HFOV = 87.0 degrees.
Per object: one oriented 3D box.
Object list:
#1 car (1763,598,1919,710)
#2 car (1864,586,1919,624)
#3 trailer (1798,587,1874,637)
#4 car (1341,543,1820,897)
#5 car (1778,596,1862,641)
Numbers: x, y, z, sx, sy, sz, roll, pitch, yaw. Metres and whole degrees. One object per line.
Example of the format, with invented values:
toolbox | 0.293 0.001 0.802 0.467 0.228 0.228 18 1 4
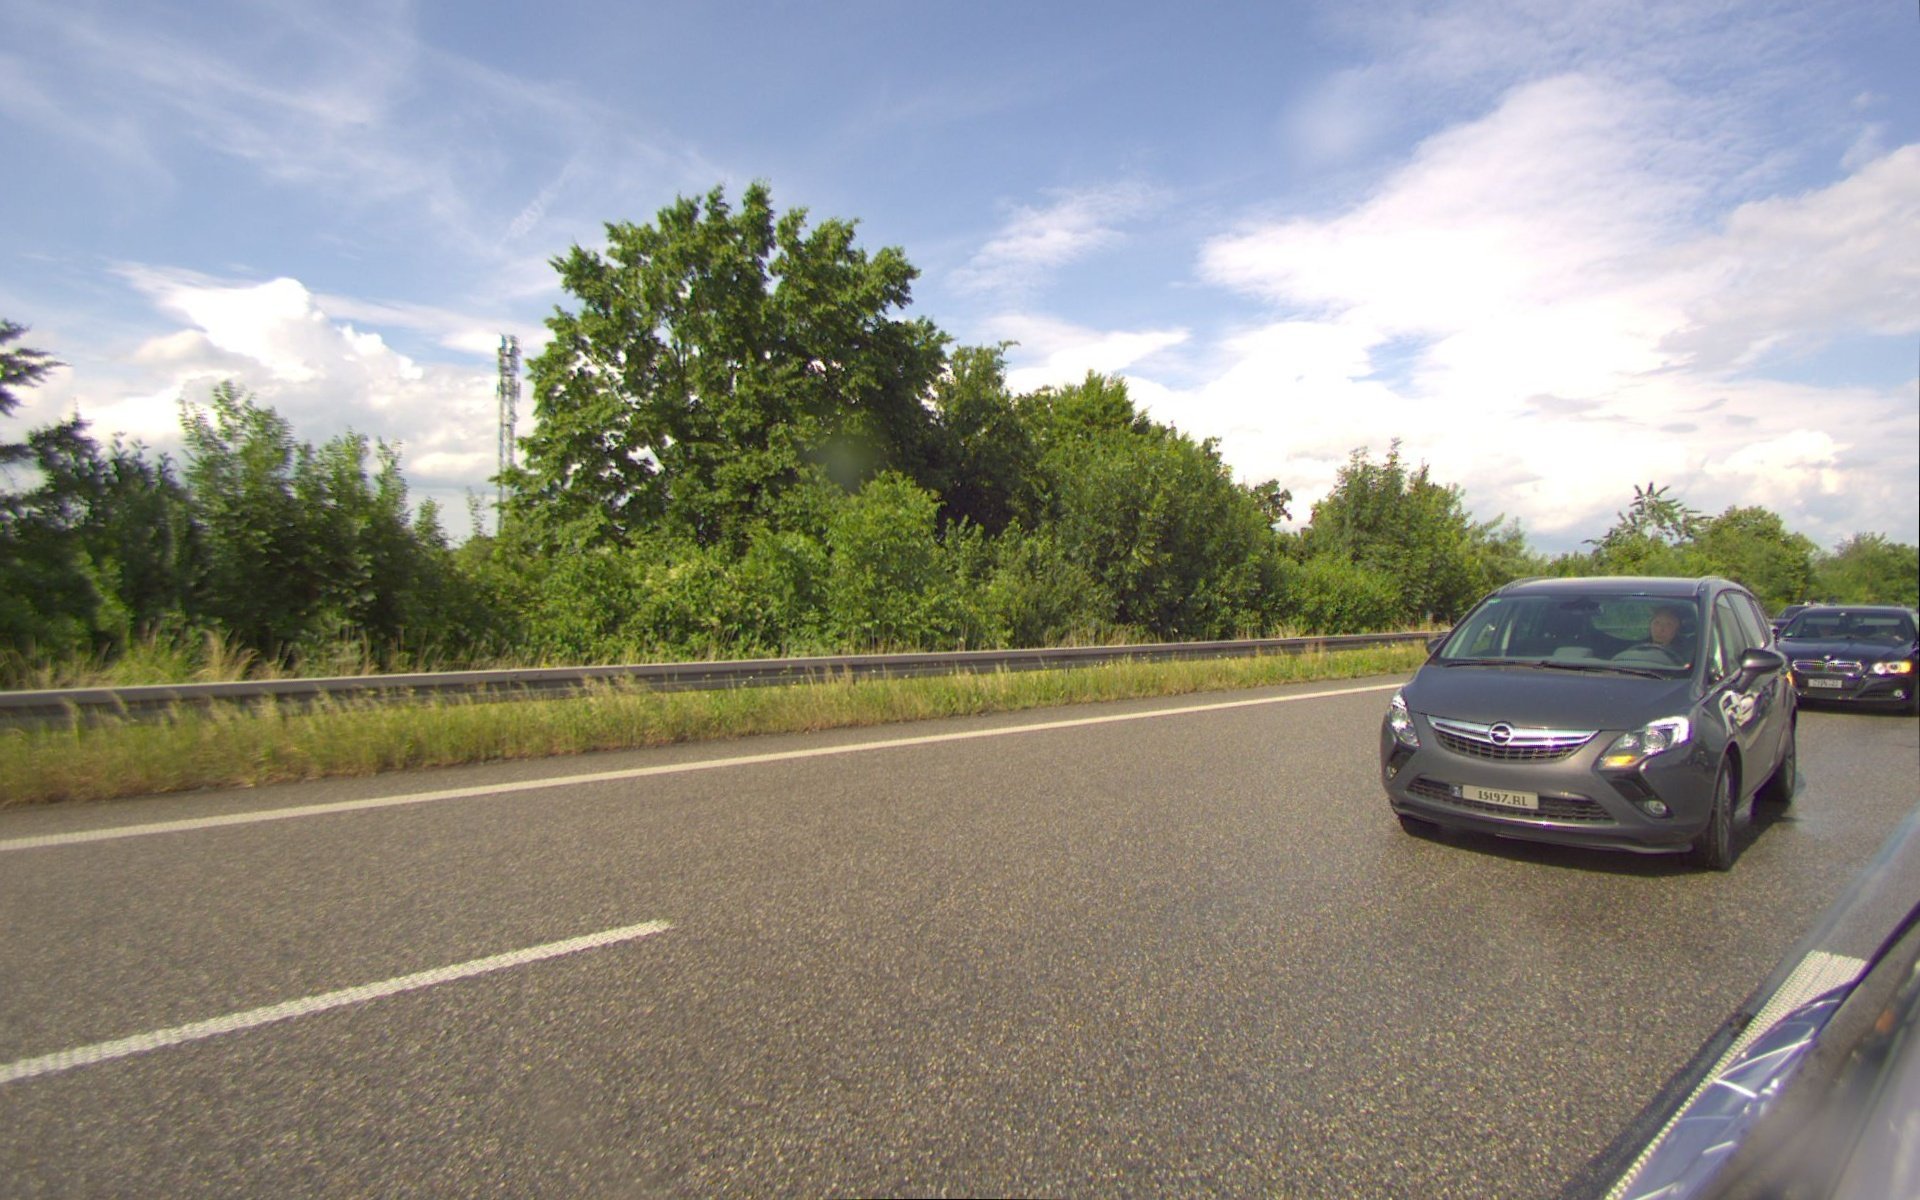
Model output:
car | 12.884 0.679 14.326 3.816 1.371 1.721 0 0 -41
car | 38.853 0.190 42.046 3.422 1.507 1.614 0 1 -42
trailer | 32.997 0.430 38.098 3.901 1.768 1.807 0 0 -44
car | 4.568 0.548 7.059 1.854 1.652 4.659 0 0 45
car | 30.006 0.598 35.271 4.330 1.449 1.745 0 1 -43
